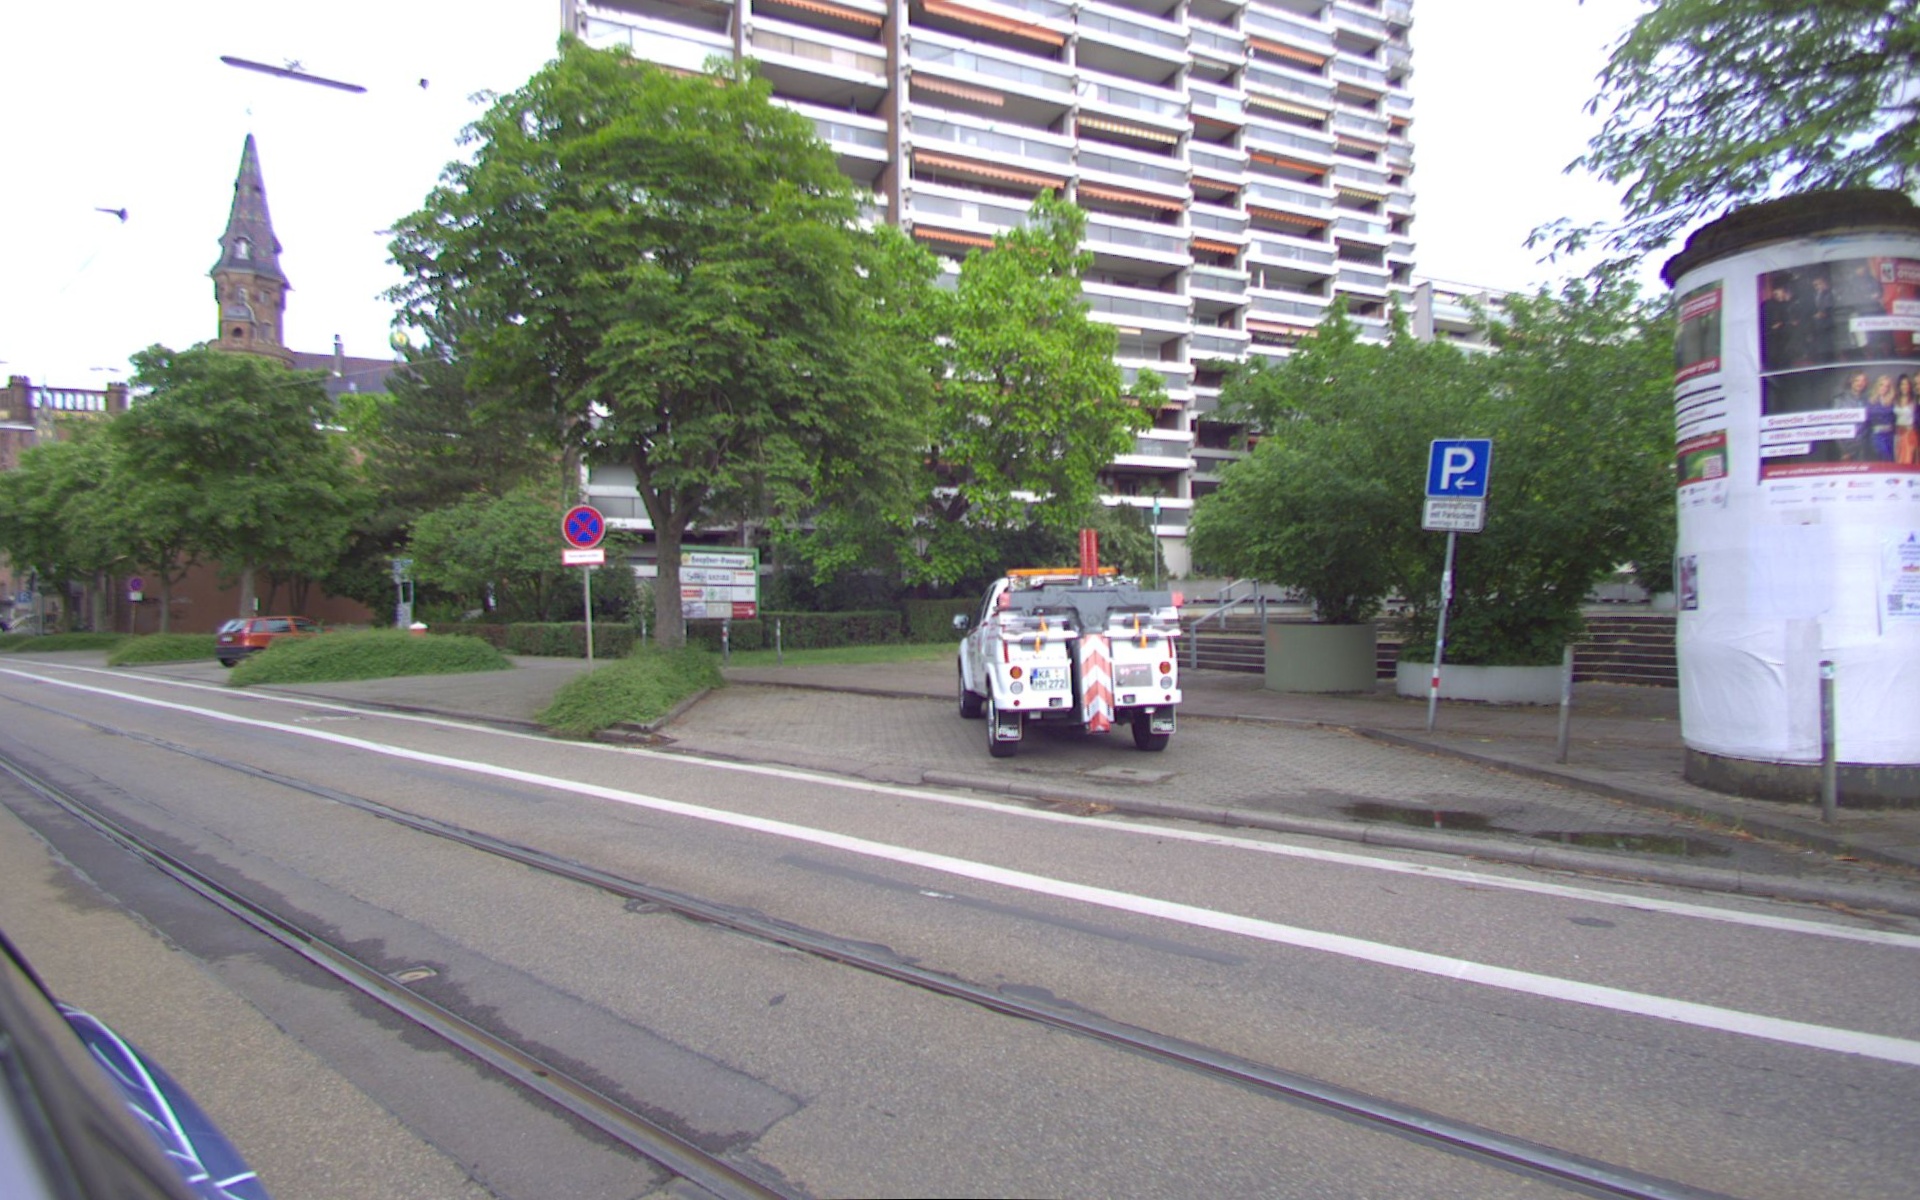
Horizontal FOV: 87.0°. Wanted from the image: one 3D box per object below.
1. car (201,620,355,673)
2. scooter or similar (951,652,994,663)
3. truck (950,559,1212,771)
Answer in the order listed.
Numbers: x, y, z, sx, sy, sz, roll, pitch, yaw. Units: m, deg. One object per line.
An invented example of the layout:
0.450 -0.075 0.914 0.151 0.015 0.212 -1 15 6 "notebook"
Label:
-20.156 1.328 30.039 1.626 1.387 3.473 0 0 26 "car"
0.309 1.430 25.192 1.203 0.173 0.297 -4 3 -44 "scooter or similar"
1.077 0.598 11.682 1.970 1.862 5.070 -1 0 -5 "truck"
